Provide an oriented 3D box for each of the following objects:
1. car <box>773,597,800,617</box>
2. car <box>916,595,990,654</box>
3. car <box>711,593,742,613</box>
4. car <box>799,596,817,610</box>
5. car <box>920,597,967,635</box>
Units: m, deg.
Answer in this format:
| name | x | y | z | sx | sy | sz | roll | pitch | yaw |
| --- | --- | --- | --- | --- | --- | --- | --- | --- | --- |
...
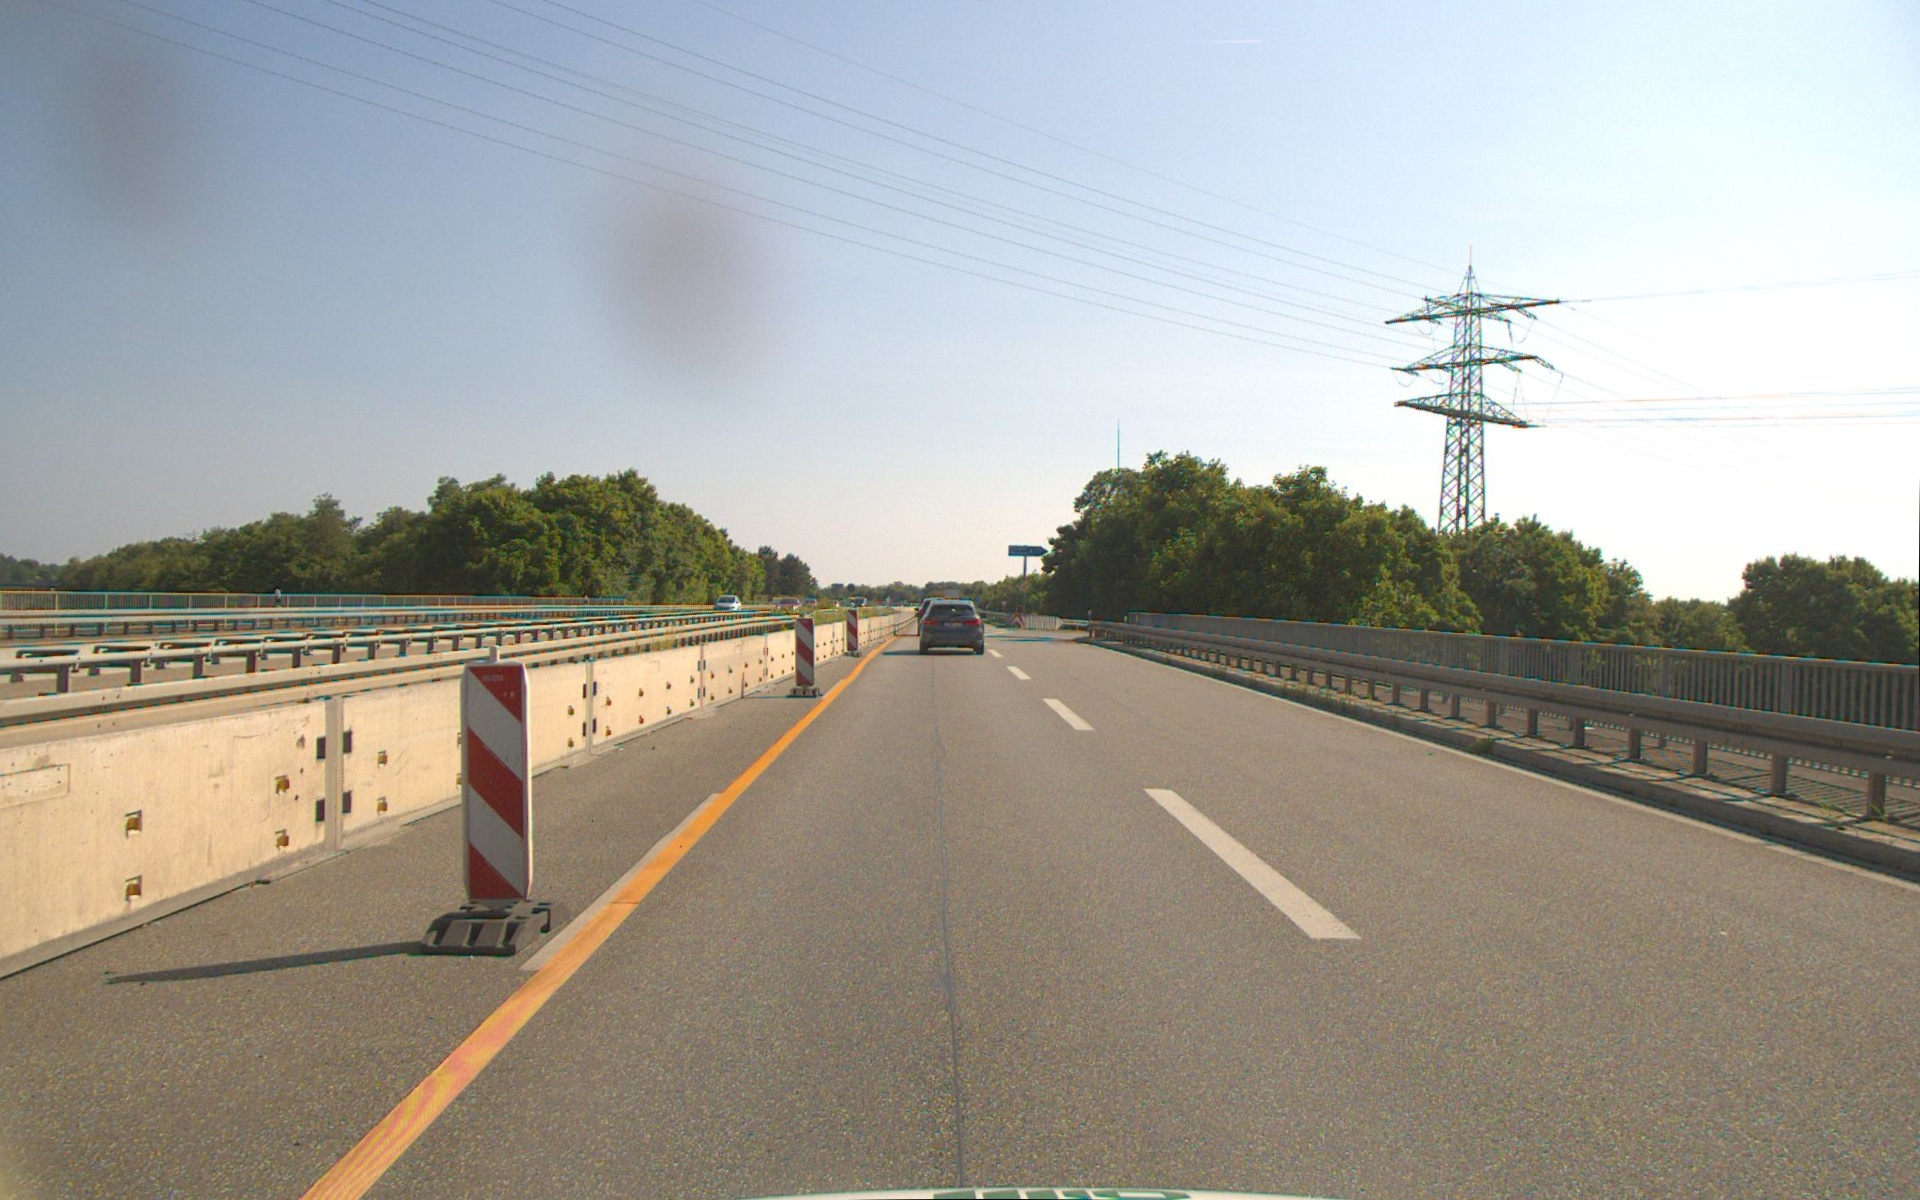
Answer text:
| name | x | y | z | sx | sy | sz | roll | pitch | yaw |
| --- | --- | --- | --- | --- | --- | --- | --- | --- | --- |
| car | -12.960 | 0.501 | 123.576 | 1.679 | 1.421 | 4.219 | 1 | 0 | -2 |
| car | -0.251 | 0.650 | 45.769 | 1.882 | 1.520 | 3.998 | 1 | 0 | -2 |
| car | -16.992 | 0.241 | 120.545 | 1.741 | 1.417 | 4.125 | 0 | 0 | -1 |
| car | -18.087 | 0.360 | 196.666 | 1.727 | 1.611 | 4.421 | 0 | 0 | -1 |
| car | -0.716 | 0.662 | 71.292 | 1.953 | 1.594 | 3.999 | 0 | 0 | -1 |
